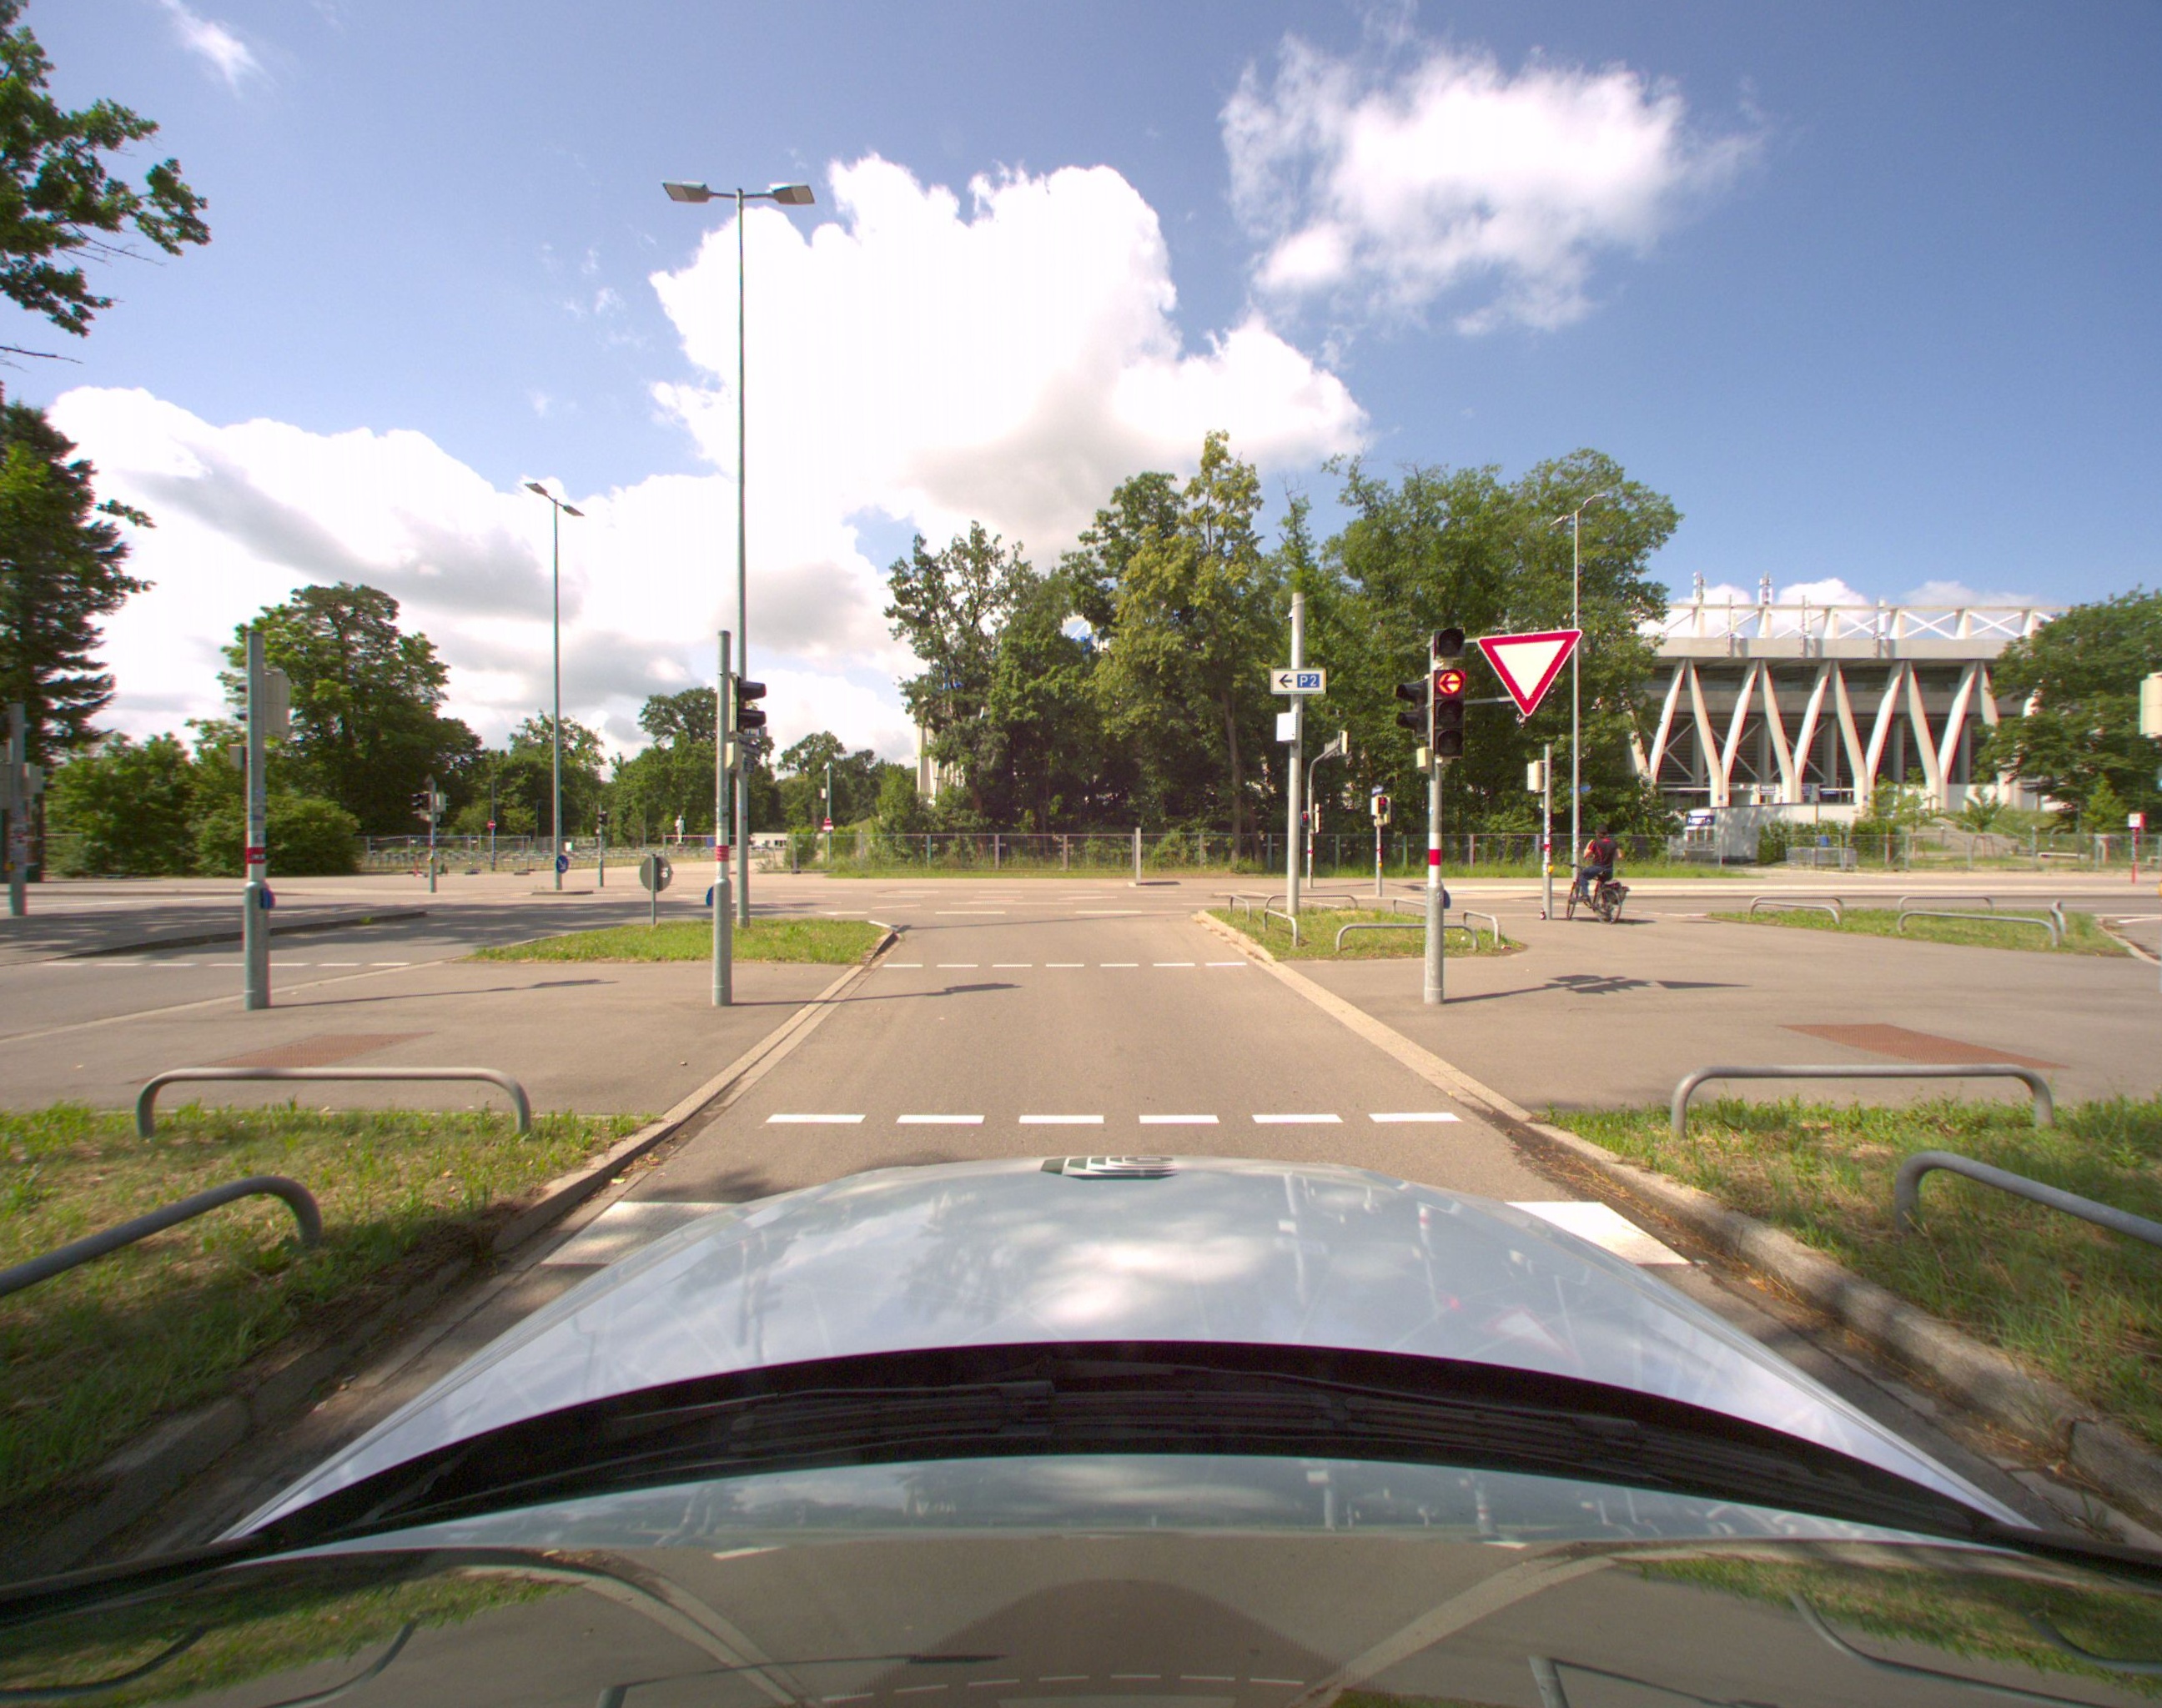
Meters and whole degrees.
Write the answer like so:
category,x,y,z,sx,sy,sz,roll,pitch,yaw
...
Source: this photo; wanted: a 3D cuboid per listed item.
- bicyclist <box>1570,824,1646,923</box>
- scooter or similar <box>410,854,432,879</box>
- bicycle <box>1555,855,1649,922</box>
category,x,y,z,sx,sy,sz,roll,pitch,yaw
bicyclist,9.934,0.362,15.400,0.879,1.798,0.981,-1,-1,10
scooter or similar,-32.214,0.591,39.729,1.295,1.200,0.410,0,1,31
bicycle,9.961,0.640,15.672,0.875,1.206,1.903,-1,-1,11
